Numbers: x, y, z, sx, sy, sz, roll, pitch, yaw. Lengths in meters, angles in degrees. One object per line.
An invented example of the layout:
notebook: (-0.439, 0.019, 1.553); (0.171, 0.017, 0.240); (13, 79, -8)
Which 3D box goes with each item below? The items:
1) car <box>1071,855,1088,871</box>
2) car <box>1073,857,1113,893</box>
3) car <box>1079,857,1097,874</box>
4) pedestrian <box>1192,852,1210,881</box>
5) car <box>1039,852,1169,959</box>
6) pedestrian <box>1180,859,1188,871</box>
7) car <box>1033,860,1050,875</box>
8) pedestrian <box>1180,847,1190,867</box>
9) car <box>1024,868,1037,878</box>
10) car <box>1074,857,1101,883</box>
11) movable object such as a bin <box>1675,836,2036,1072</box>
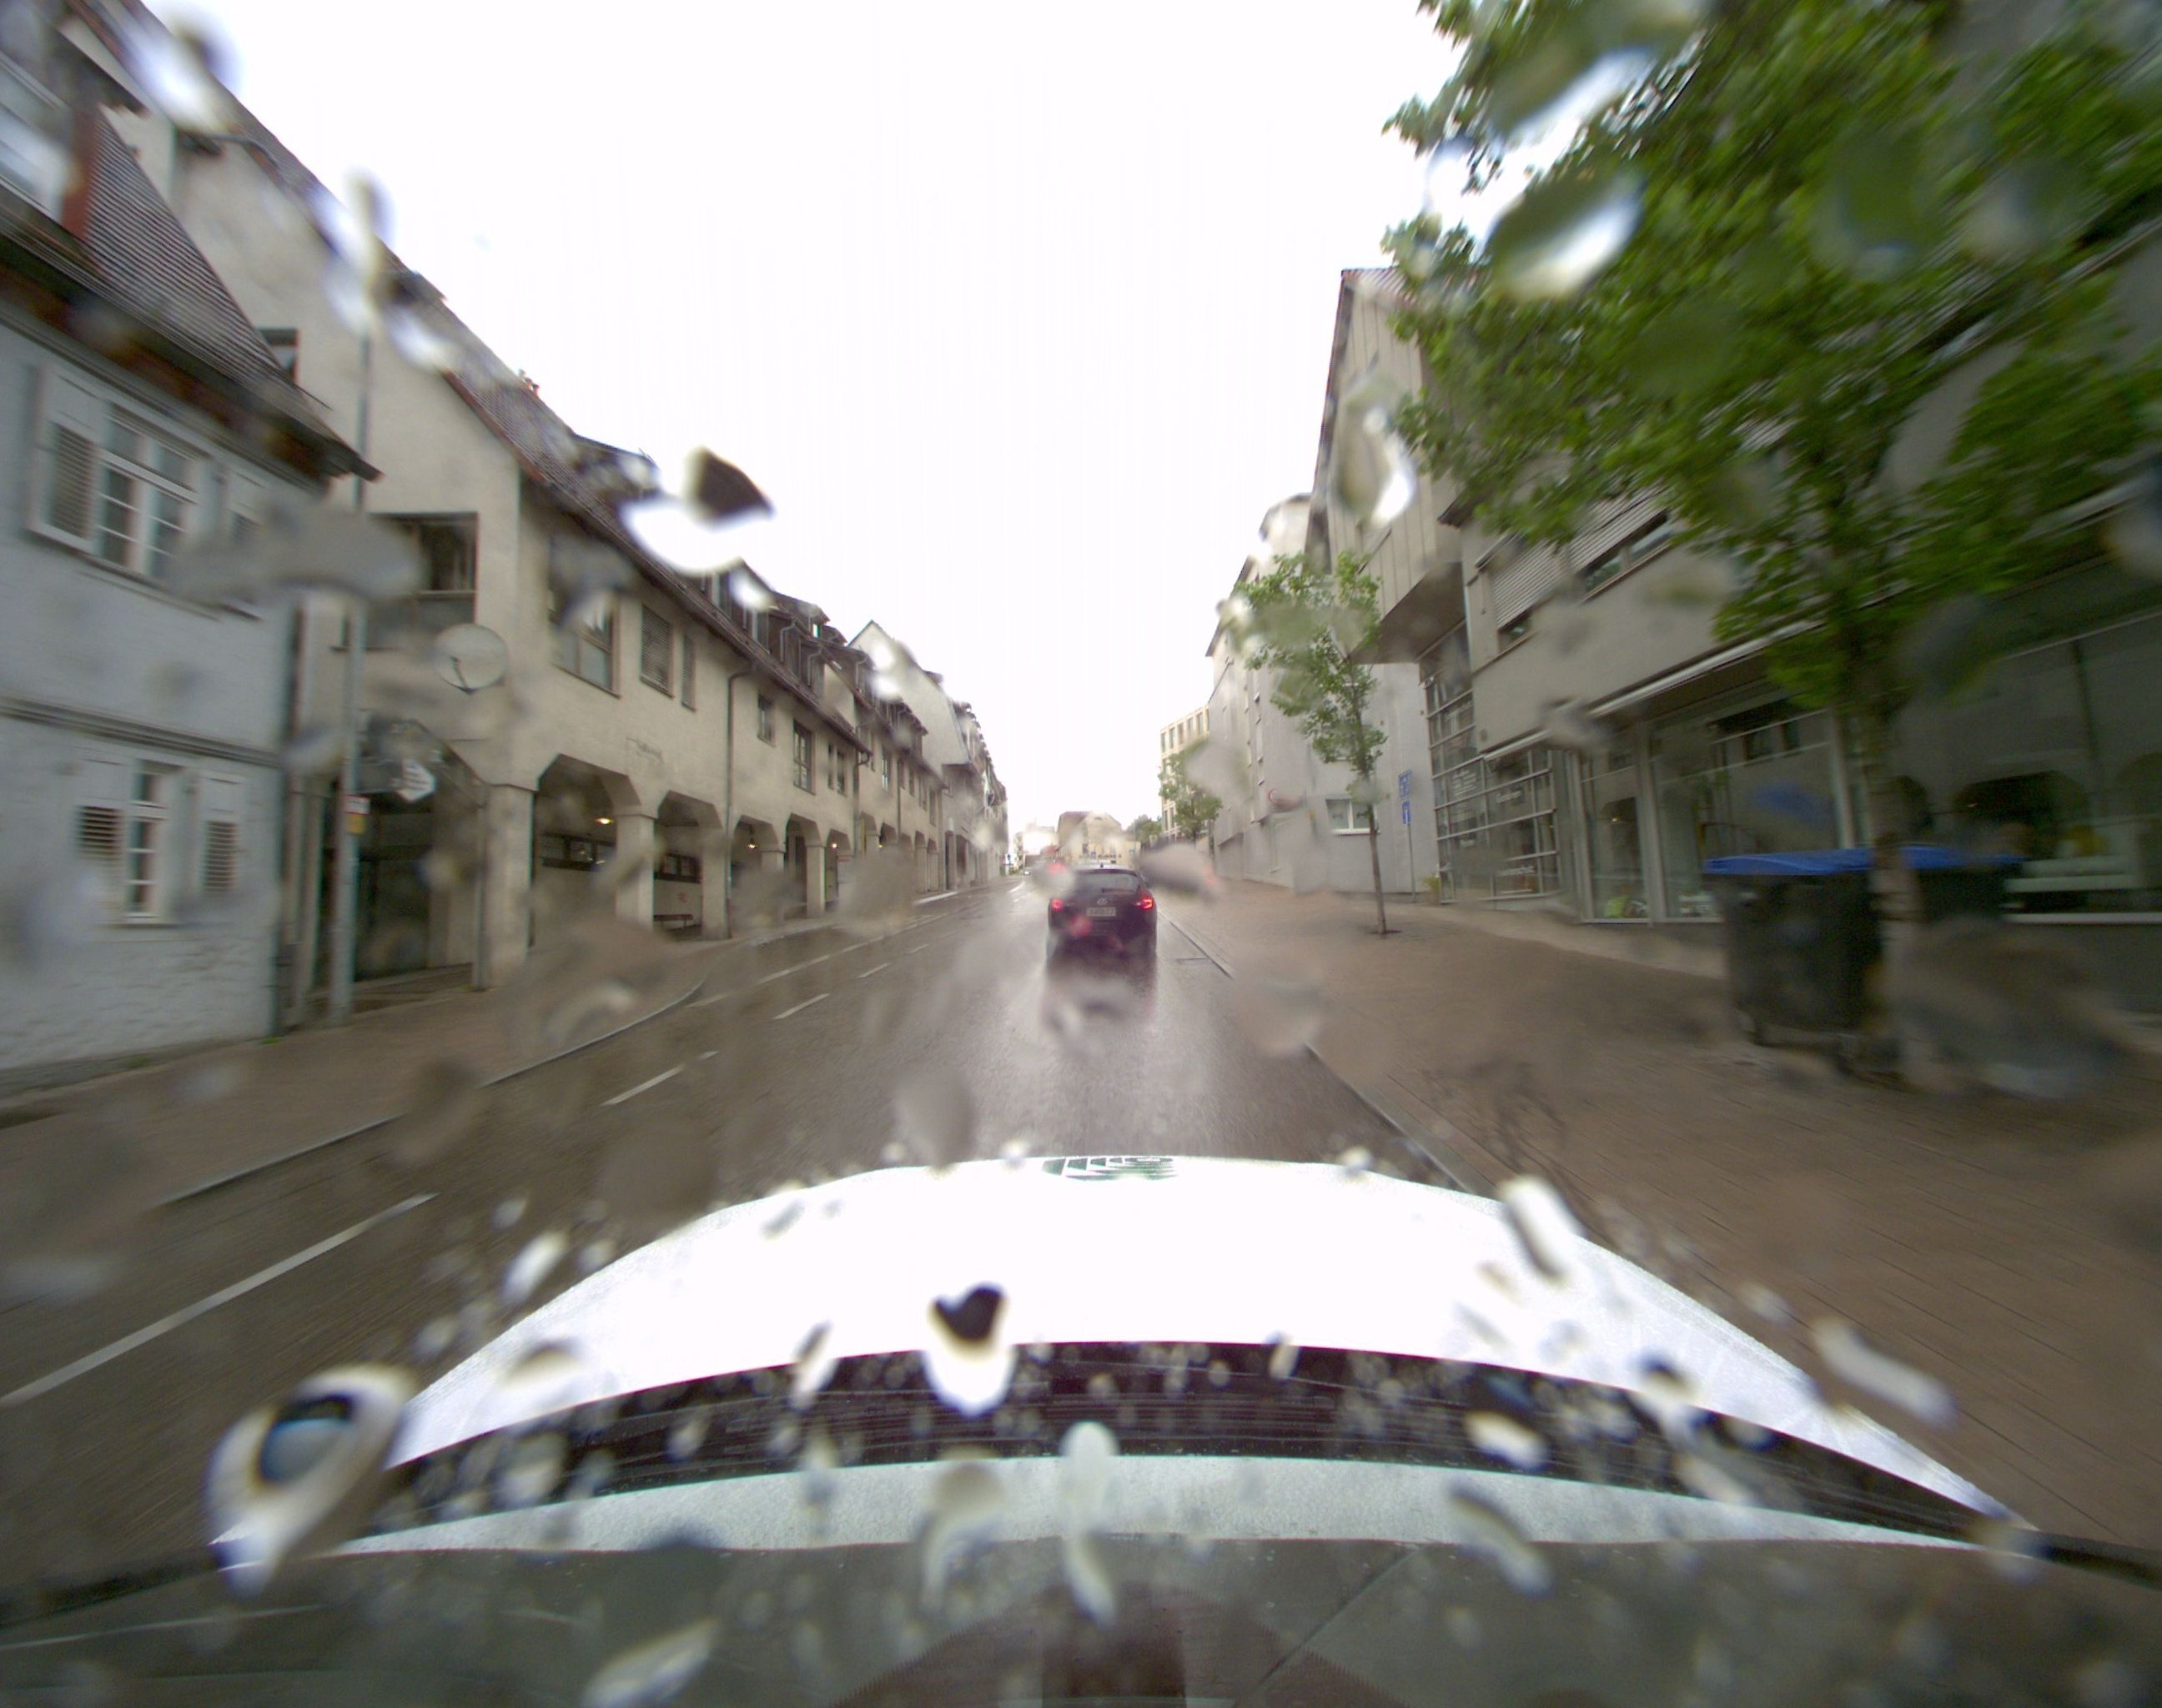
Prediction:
car: (-0.164, 1.192, 110.272); (1.986, 2.014, 4.002); (-2, 0, 2)
car: (0.528, 0.962, 38.217); (1.673, 1.510, 3.585); (-2, -1, -2)
car: (0.712, 1.175, 83.378); (1.675, 1.560, 3.999); (-3, -1, 0)
pedestrian: (6.650, 0.687, 45.239); (0.733, 1.542, 1.039); (-5, -1, 3)
car: (0.450, 0.814, 14.675); (1.937, 1.567, 4.419); (-2, -1, 2)
pedestrian: (10.316, 1.065, 81.834); (0.669, 1.162, 0.635); (-4, -1, 0)
car: (-4.190, 1.450, 87.293); (1.672, 1.510, 3.587); (-2, -1, -1)
pedestrian: (10.297, 0.292, 80.429); (0.779, 1.940, 1.021); (-4, -1, 0)
car: (-7.445, 2.785, 119.188); (1.675, 1.409, 3.579); (-2, -1, -7)
car: (0.415, 1.006, 52.981); (1.675, 1.560, 3.999); (-3, -1, 0)
movable object such as a bin: (5.022, 0.596, 5.423); (1.230, 1.335, 1.173); (-3, 0, 2)
